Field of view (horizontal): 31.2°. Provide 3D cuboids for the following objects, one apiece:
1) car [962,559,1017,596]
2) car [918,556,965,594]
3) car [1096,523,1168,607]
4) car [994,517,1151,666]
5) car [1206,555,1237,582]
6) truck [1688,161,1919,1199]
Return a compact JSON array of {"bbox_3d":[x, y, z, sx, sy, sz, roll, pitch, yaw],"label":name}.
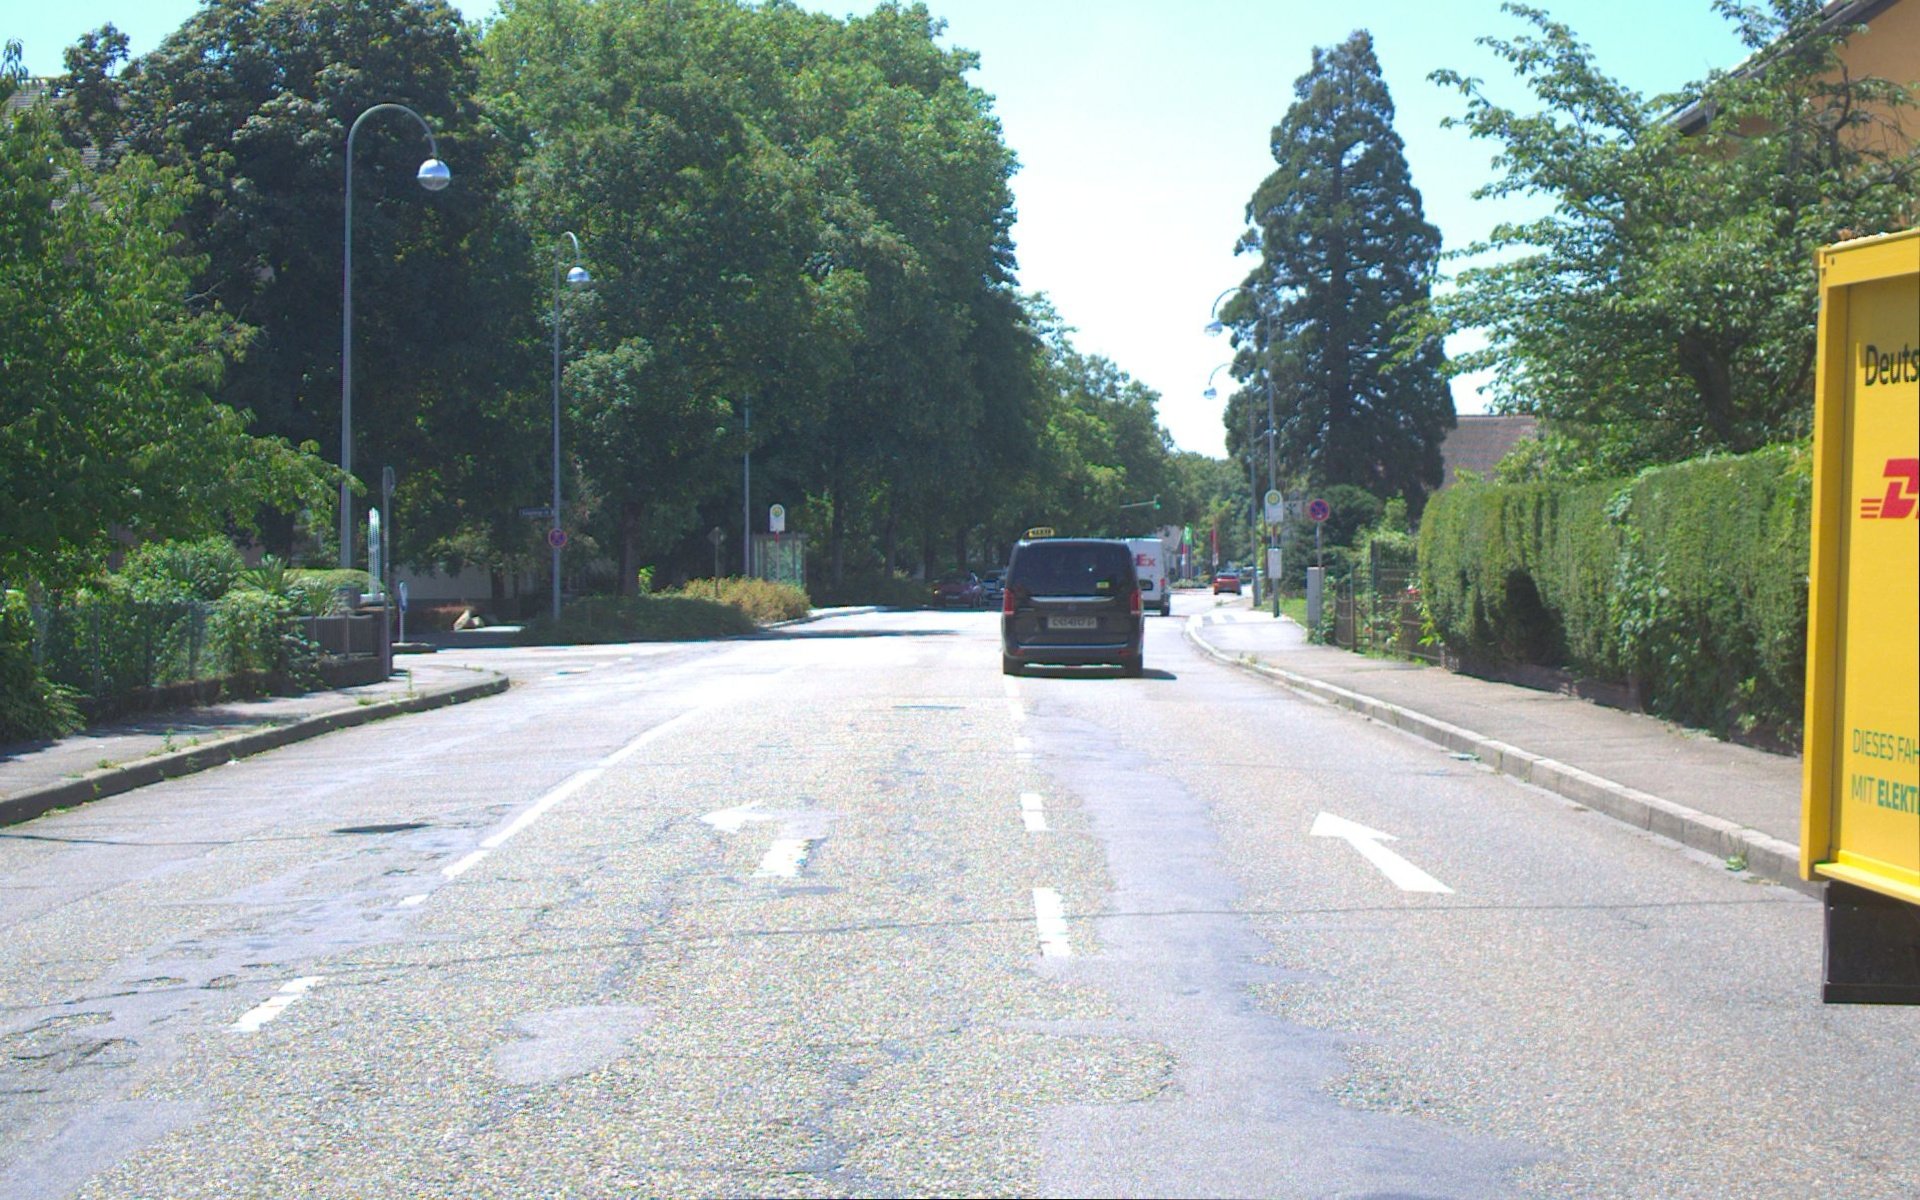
[{"bbox_3d":[1.237,-0.939,141.910,1.691,1.455,3.638,2,1,10],"label":"car"},{"bbox_3d":[-0.716,-0.974,134.130,1.550,1.445,3.690,1,0,4],"label":"car"},{"bbox_3d":[5.741,-1.213,115.161,2.120,2.668,5.662,1,1,0],"label":"car"},{"bbox_3d":[1.552,-0.156,46.587,1.994,1.886,4.000,1,1,3],"label":"car"},{"bbox_3d":[17.175,-2.084,225.717,1.857,1.637,4.000,1,1,2],"label":"car"},{"bbox_3d":[3.110,0.333,5.358,2.013,2.300,6.178,2,1,-5],"label":"truck"}]
